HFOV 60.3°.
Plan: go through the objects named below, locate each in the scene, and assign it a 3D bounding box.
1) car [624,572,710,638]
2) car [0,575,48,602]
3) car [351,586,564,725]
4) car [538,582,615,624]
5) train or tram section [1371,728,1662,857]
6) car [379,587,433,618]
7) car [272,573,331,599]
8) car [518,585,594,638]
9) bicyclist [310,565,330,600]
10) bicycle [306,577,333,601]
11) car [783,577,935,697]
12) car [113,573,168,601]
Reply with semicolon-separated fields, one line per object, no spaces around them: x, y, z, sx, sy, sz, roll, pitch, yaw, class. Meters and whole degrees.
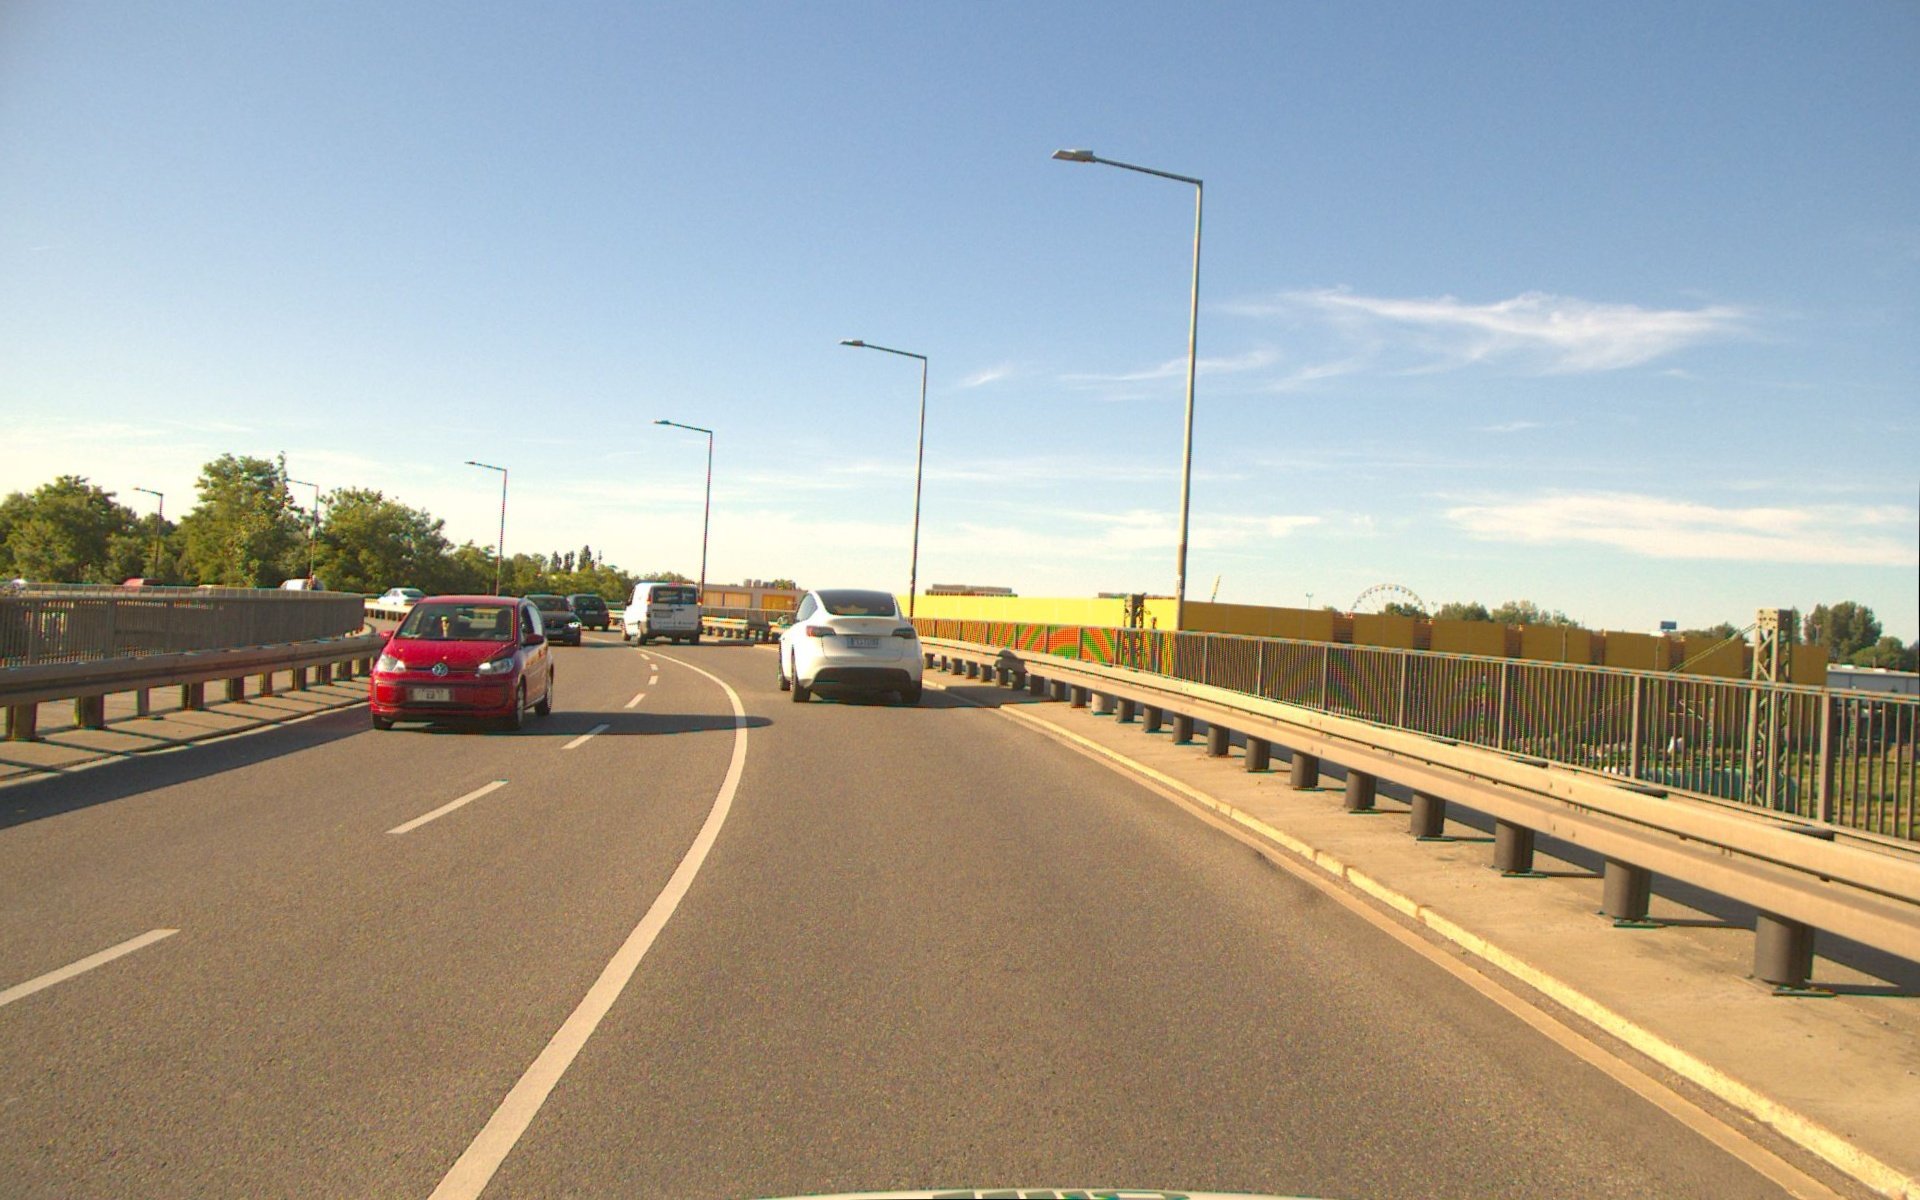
-9.366;0.142;52.554;1.975;1.974;4.442;1;0;-19;car
-71.265;-0.890;125.355;3.913;1.984;1.959;1;0;30;car
-5.785;0.585;19.469;1.748;1.462;3.869;1;0;-7;car
-15.568;0.103;66.999;1.949;1.666;3.958;0;0;-31;car
28.001;9.393;82.560;16.636;5.353;3.306;1;0;-29;train or tram section
-31.014;0.132;92.577;1.844;1.612;3.866;1;0;-35;car
-42.118;-0.906;105.695;3.818;1.583;1.833;1;0;38;car
-12.117;0.320;49.450;1.845;1.464;4.298;1;0;-19;car
-29.764;-0.801;76.891;0.649;1.617;0.758;1;0;-38;bicyclist
-29.797;-0.502;76.925;0.649;1.083;1.865;1;0;-37;bicycle
-1.621;0.507;25.141;1.949;1.666;4.054;0;0;-9;car
-60.373;-0.968;121.854;3.918;1.984;1.956;1;0;35;car
